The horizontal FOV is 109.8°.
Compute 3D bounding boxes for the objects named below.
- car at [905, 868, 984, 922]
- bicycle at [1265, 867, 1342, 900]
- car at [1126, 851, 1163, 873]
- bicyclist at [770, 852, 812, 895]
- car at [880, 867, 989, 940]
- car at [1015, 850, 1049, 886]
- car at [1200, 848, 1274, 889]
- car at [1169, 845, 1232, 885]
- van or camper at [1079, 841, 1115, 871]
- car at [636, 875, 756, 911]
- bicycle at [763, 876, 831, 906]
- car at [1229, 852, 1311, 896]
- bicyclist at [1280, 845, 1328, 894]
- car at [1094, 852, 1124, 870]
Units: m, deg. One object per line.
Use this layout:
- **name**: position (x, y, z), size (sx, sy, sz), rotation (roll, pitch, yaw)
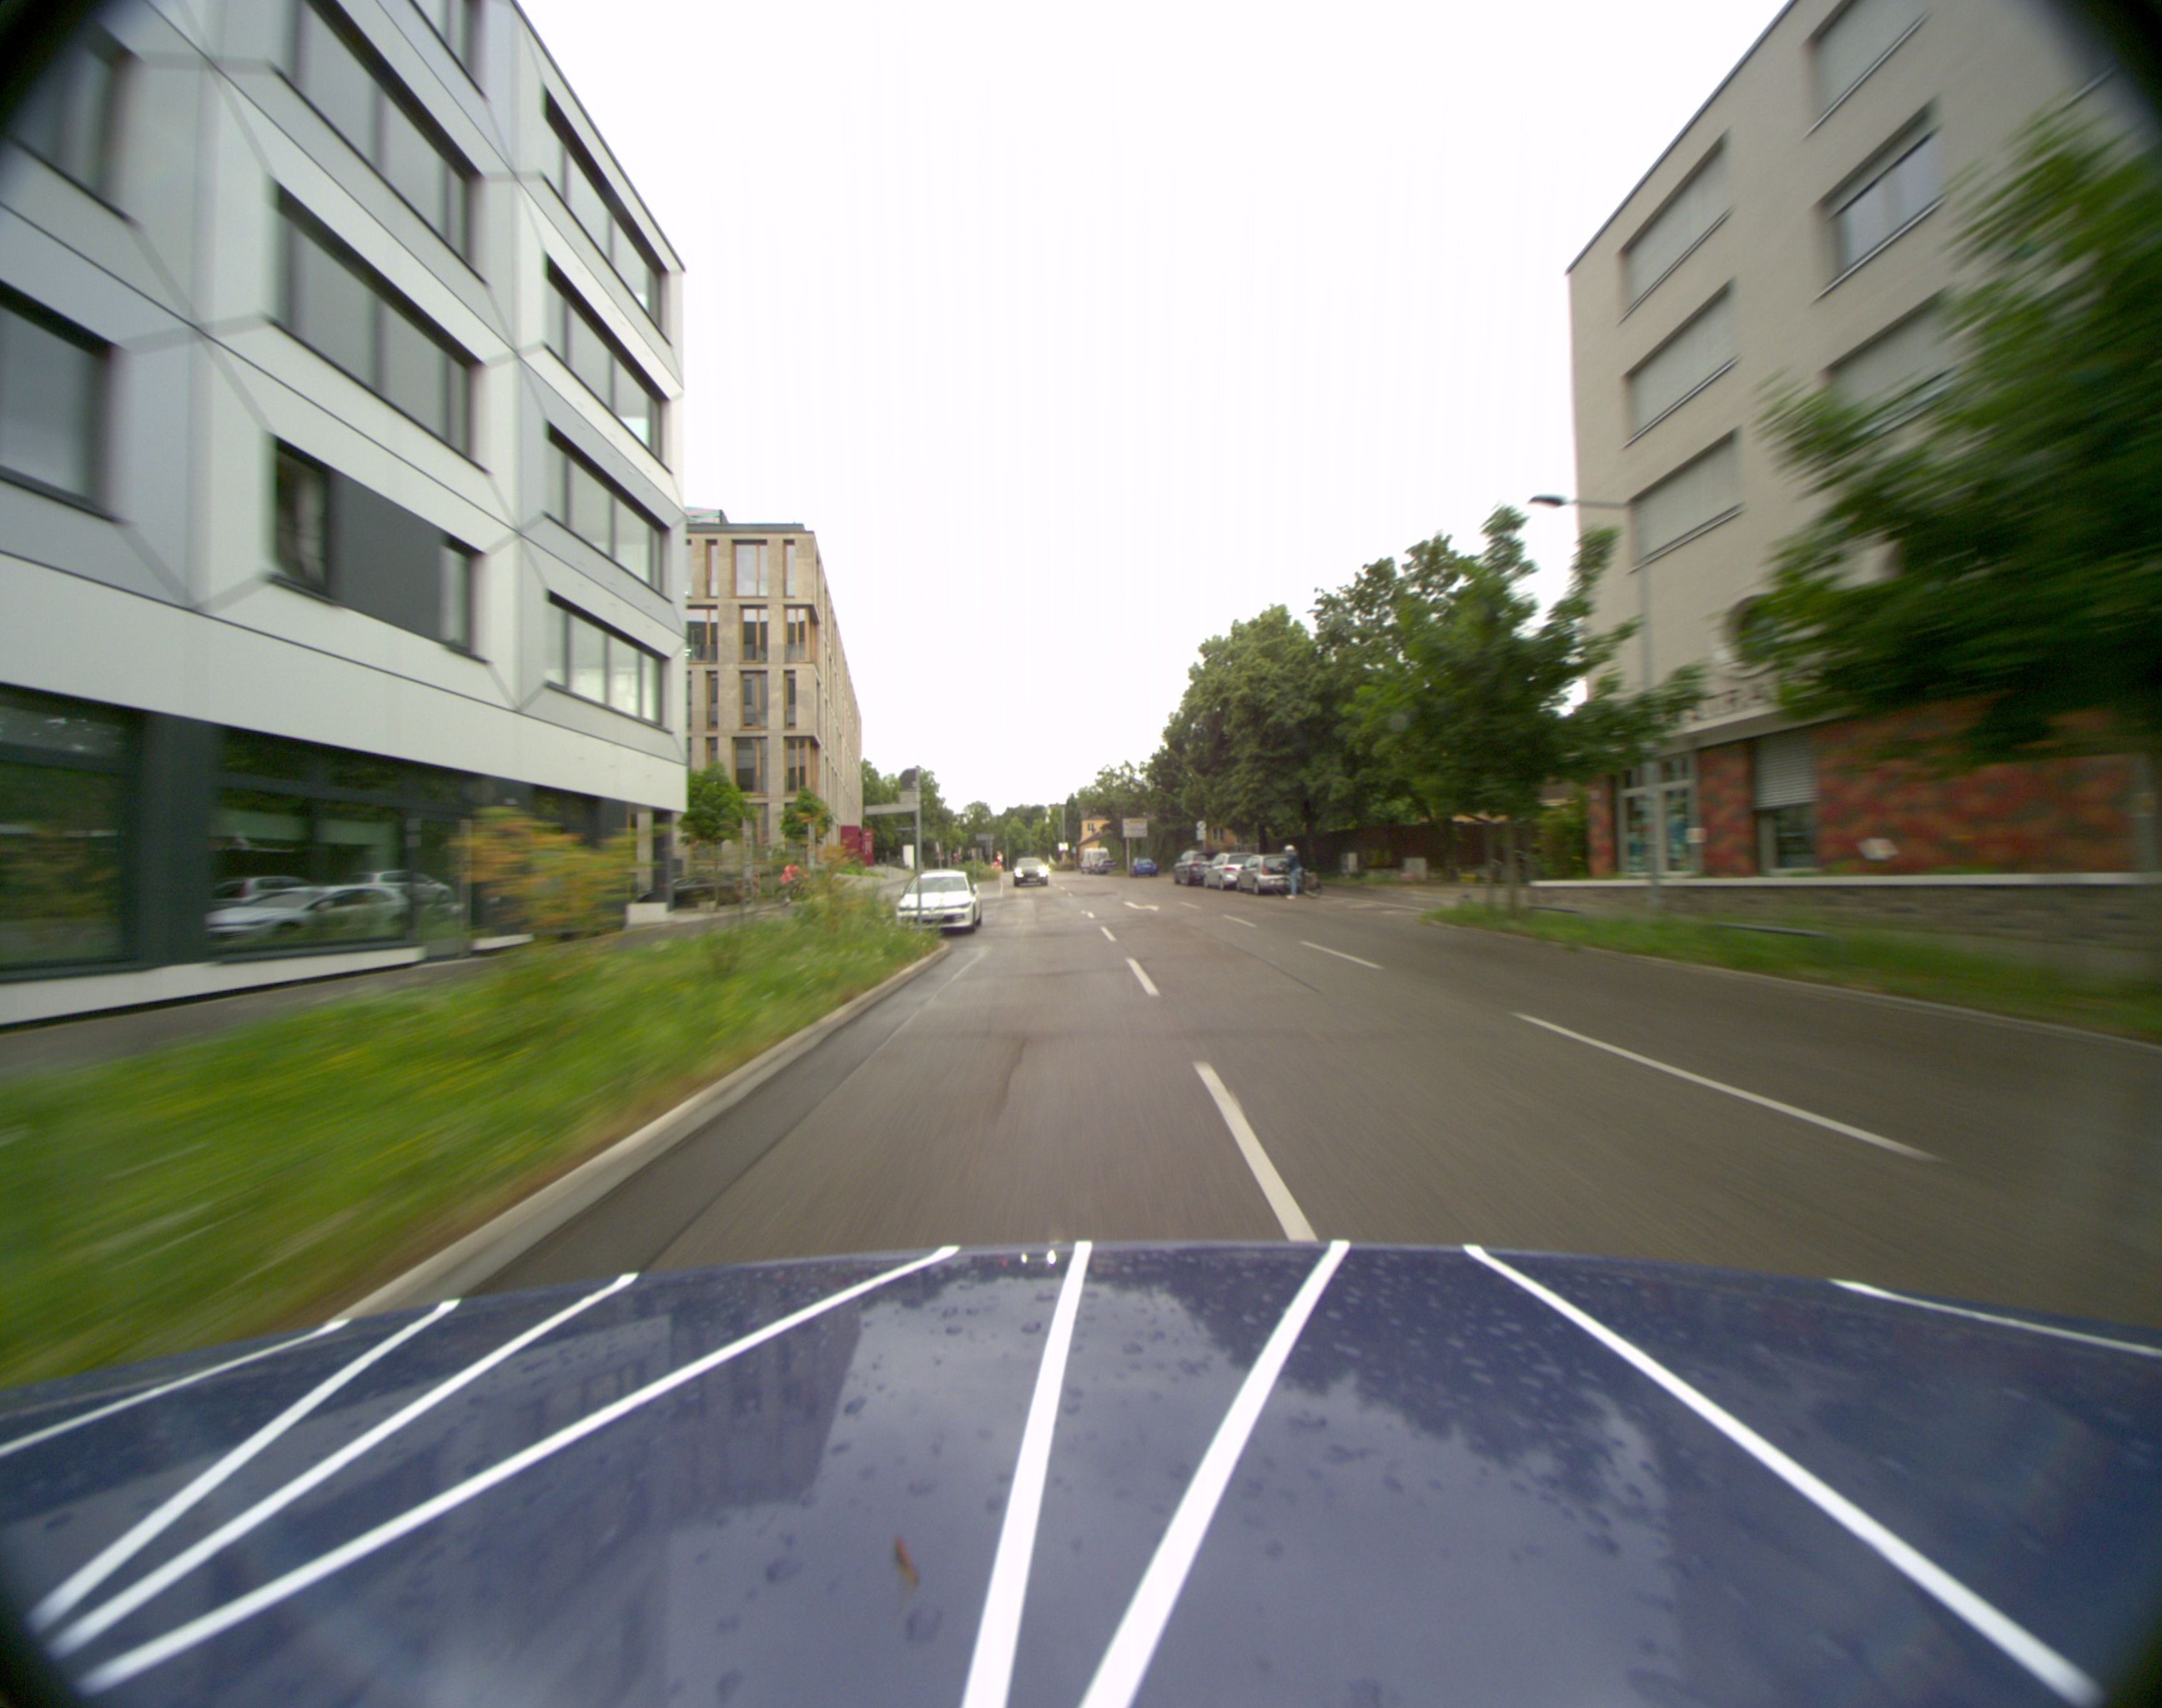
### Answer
- **car**: position (-4.406, 1.216, 24.060), size (2.052, 1.449, 4.050), rotation (-3, 0, -15)
- **bicycle**: position (7.158, 0.935, 24.545), size (0.806, 0.973, 2.248), rotation (-3, 1, -43)
- **car**: position (4.590, 0.575, 55.731), size (1.999, 1.461, 4.184), rotation (-3, 0, -4)
- **bicyclist**: position (-10.547, 0.710, 27.634), size (1.074, 1.494, 0.841), rotation (-3, 1, 21)
- **car**: position (-3.499, 1.123, 19.021), size (2.045, 1.456, 4.501), rotation (-3, 0, -4)
- **car**: position (-2.907, 0.780, 45.632), size (1.848, 1.961, 4.342), rotation (-3, 1, -3)
- **car**: position (6.668, 0.563, 33.025), size (1.995, 1.584, 4.488), rotation (-3, 0, -4)
- **car**: position (5.962, 0.511, 38.460), size (1.999, 1.776, 5.408), rotation (-3, 0, -3)
- **van or camper**: position (1.520, 0.240, 76.222), size (2.348, 2.748, 6.137), rotation (-3, 0, -10)
- **car**: position (-16.595, 1.679, 32.950), size (4.242, 1.237, 1.728), rotation (-3, 0, -5)
- **bicycle**: position (-10.329, 1.362, 27.580), size (2.477, 1.014, 0.627), rotation (-2, 0, 21)
- **car**: position (7.004, 0.696, 28.569), size (1.885, 1.454, 3.846), rotation (-3, 1, -3)
- **bicyclist**: position (7.182, 0.504, 24.489), size (0.805, 1.514, 1.198), rotation (-3, 1, -44)
- **car**: position (2.574, 0.637, 71.050), size (2.000, 1.504, 4.419), rotation (-3, 0, -8)
